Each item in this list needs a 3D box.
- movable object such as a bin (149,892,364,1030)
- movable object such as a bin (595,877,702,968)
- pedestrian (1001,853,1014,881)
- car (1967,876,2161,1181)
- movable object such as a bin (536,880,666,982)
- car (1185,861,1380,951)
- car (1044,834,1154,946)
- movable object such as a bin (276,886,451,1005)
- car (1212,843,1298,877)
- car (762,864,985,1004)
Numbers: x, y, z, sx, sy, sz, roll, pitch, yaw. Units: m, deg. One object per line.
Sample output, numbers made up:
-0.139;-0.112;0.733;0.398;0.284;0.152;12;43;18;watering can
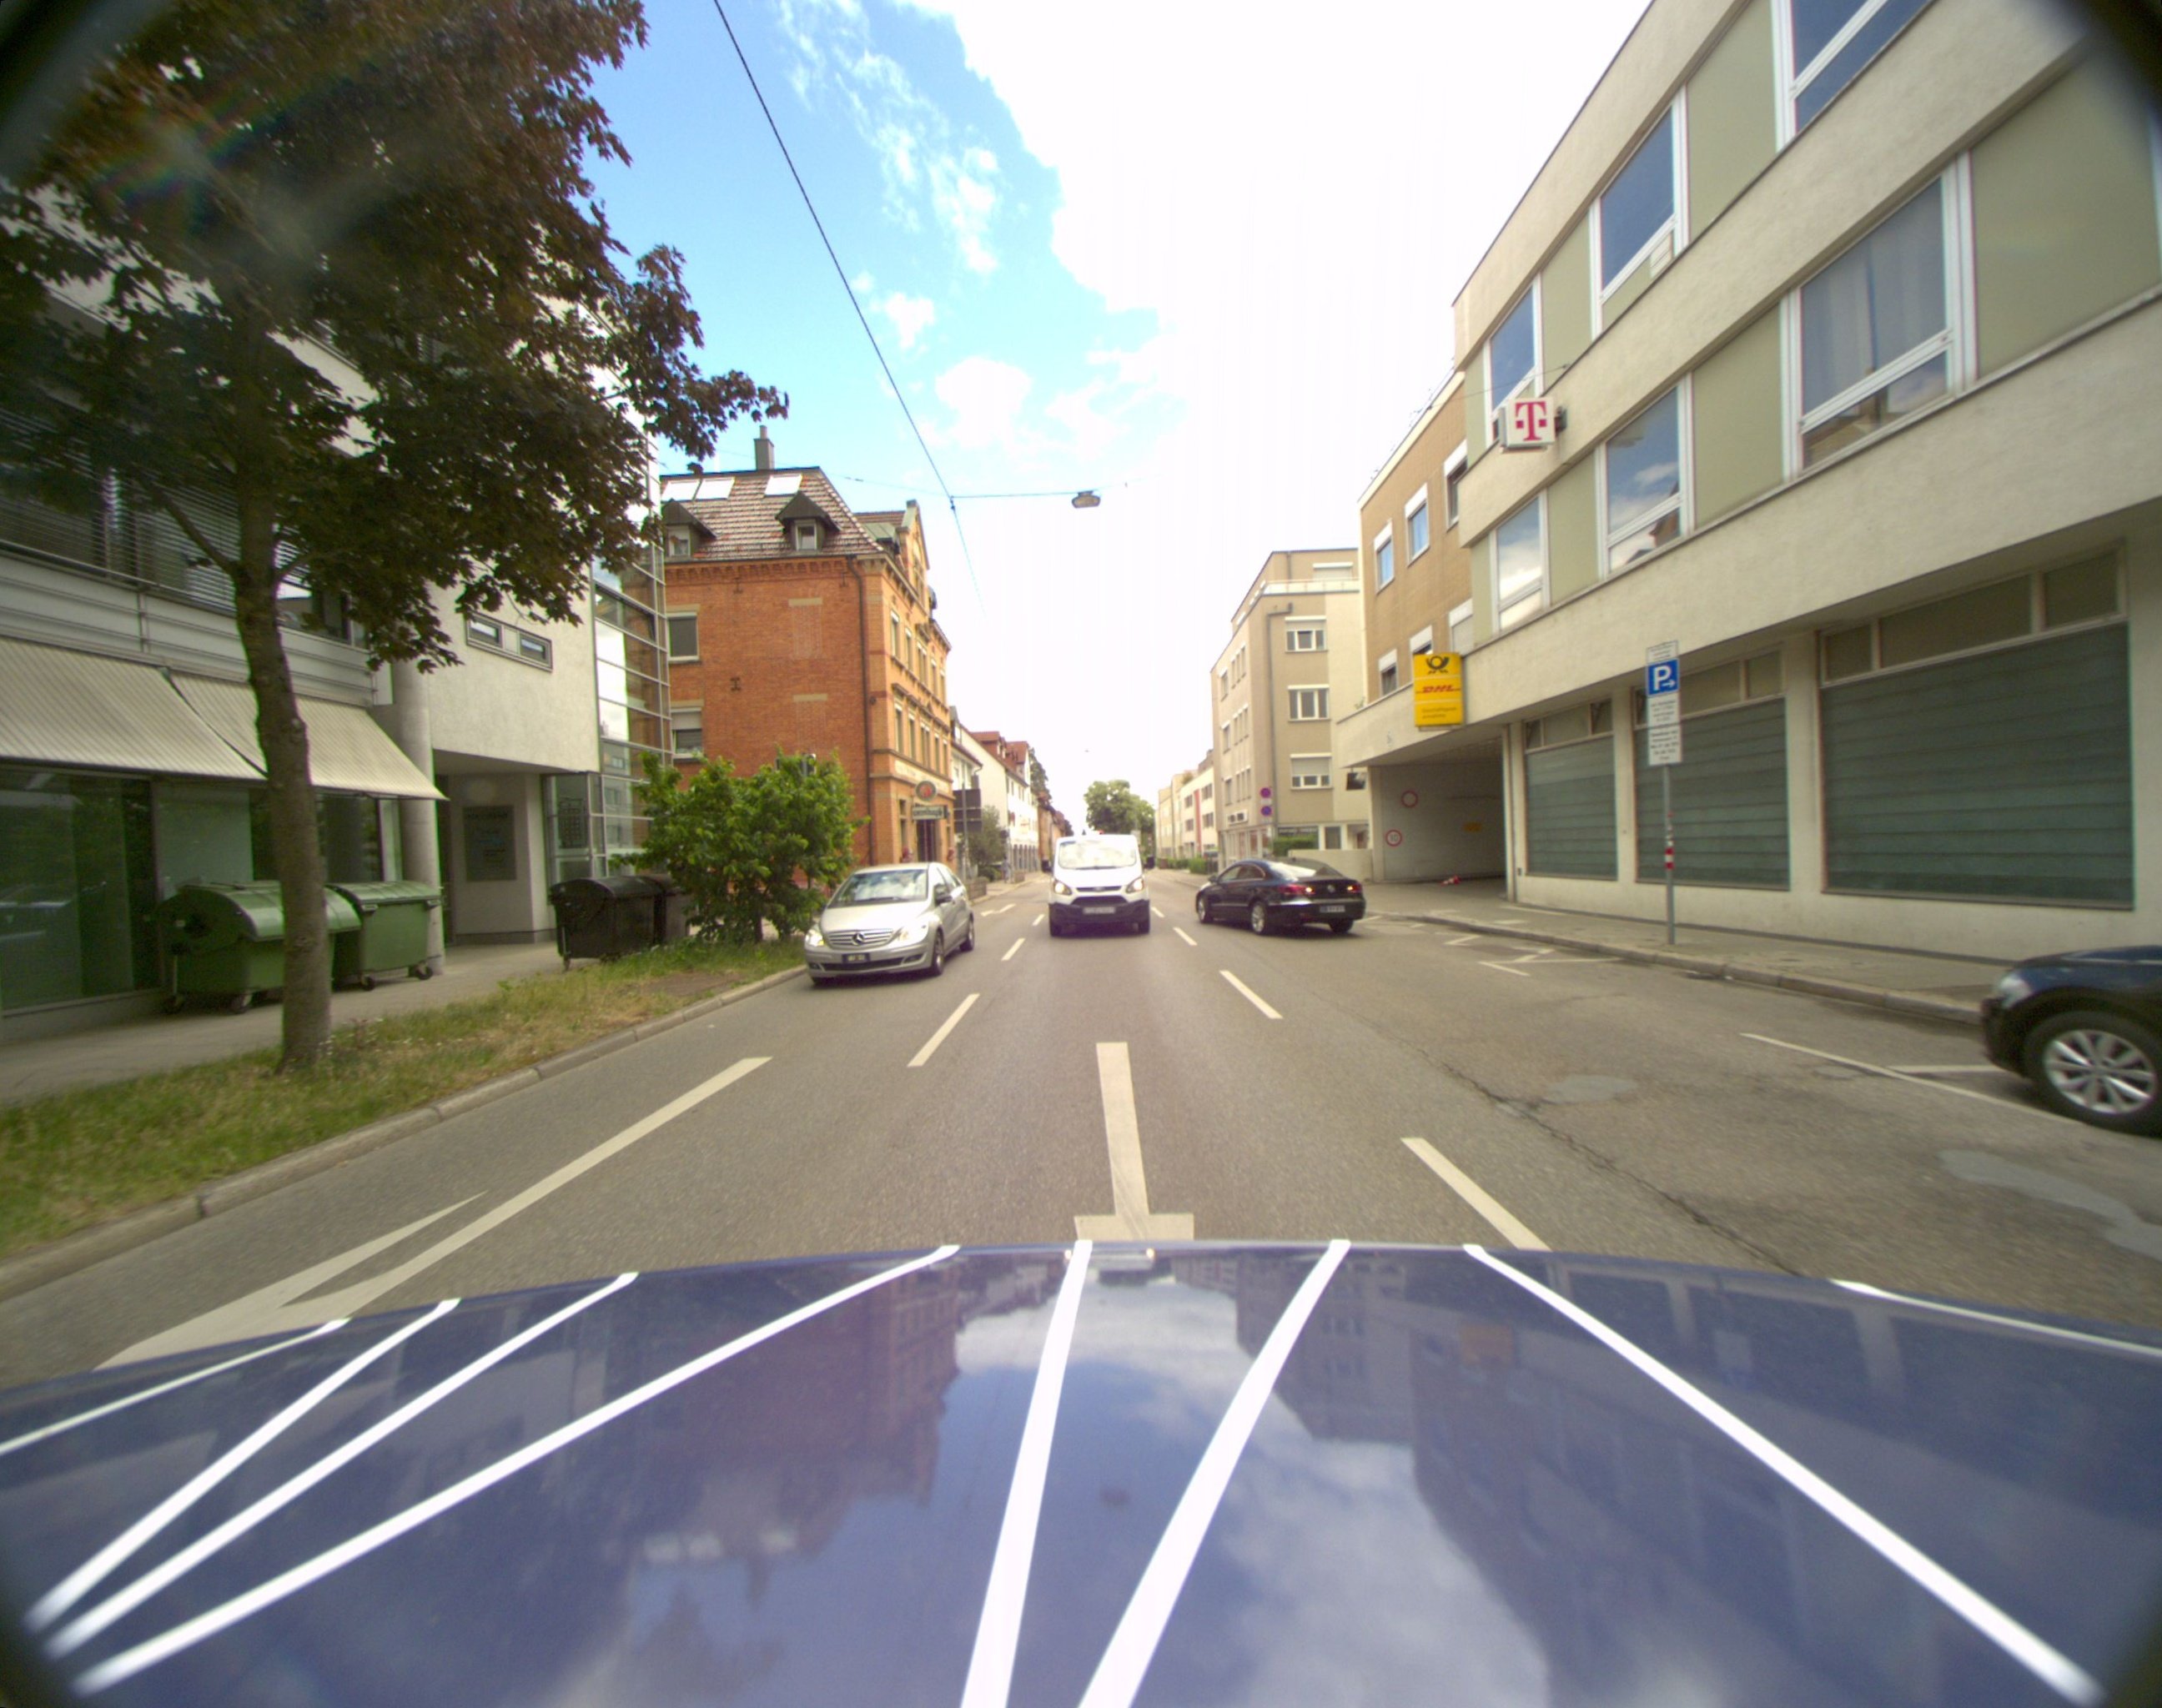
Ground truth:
-9.837;1.228;9.157;1.100;1.457;1.333;-1;1;0;movable object such as a bin
-7.594;1.174;13.436;1.100;1.457;1.333;-1;1;0;movable object such as a bin
-4.644;0.827;47.822;0.690;1.721;0.649;-2;1;-1;pedestrian
6.019;0.844;2.480;1.721;1.417;3.870;-1;0;-1;car
-7.563;1.177;12.064;1.130;1.457;1.412;-1;1;0;movable object such as a bin
3.701;0.881;14.887;1.658;1.390;4.448;-3;1;-15;car
0.302;0.656;16.543;1.965;1.986;5.086;-2;0;-1;car
-9.852;1.216;10.518;1.125;1.457;1.333;-1;1;0;movable object such as a bin
11.214;0.361;49.262;5.082;1.986;1.966;-2;0;3;car
-2.913;1.037;11.875;1.998;1.537;4.571;-5;0;2;car
